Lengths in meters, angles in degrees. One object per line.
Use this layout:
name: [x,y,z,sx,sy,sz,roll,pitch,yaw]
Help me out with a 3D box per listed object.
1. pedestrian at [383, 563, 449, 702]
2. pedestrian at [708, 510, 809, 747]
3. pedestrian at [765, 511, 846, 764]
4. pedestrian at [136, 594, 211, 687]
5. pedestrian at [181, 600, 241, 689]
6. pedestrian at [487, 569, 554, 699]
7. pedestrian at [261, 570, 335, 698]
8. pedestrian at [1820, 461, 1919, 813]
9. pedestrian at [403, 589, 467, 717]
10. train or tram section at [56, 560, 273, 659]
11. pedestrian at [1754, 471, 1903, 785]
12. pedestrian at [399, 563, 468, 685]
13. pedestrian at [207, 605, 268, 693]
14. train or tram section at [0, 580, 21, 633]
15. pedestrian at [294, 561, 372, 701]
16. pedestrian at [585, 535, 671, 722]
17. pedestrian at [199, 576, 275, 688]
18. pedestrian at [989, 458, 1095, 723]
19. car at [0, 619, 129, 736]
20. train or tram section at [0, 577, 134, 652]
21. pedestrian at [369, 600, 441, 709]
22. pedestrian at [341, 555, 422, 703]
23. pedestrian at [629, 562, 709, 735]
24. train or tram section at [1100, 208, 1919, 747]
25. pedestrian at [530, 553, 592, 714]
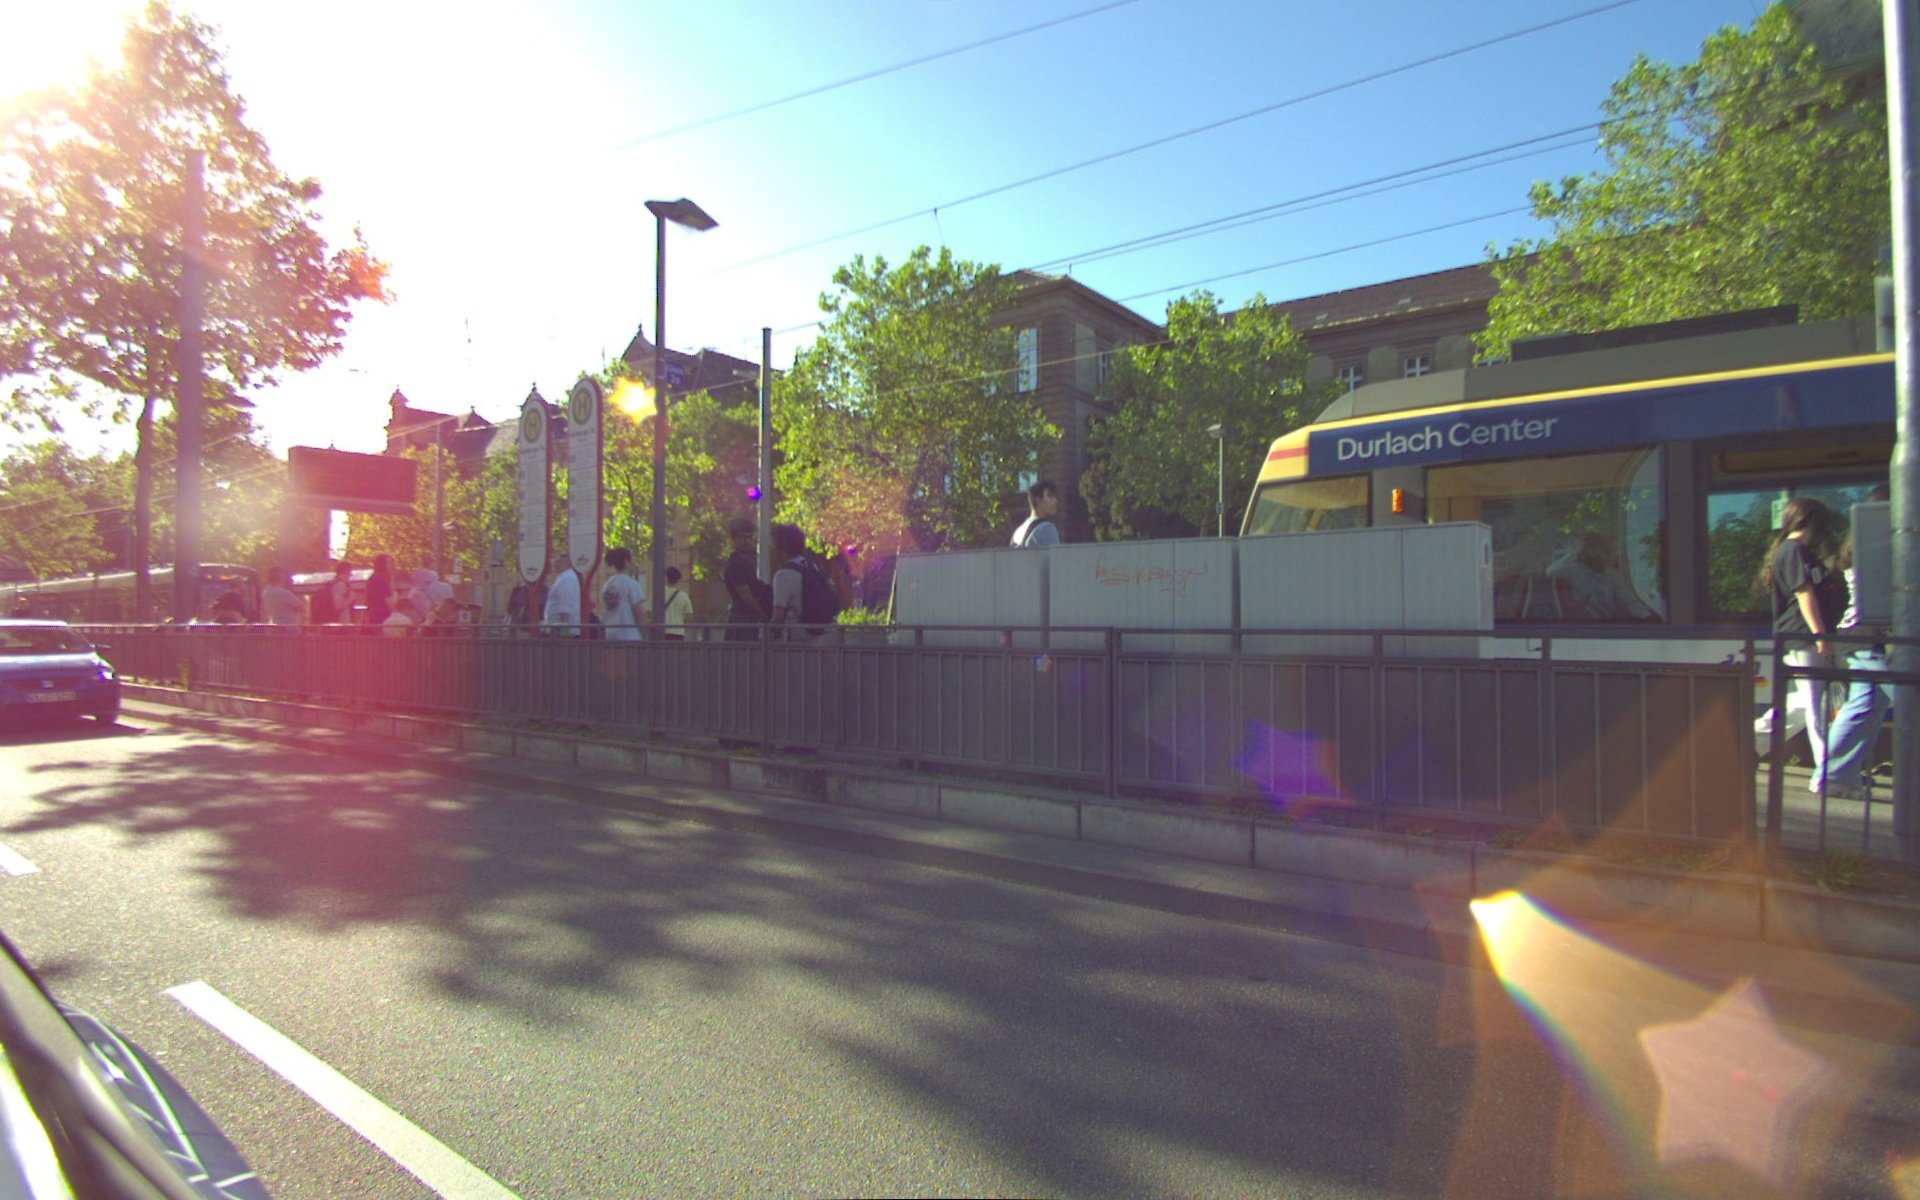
pedestrian: [-6.972,0.413,12.978,0.620,1.721,0.510,-1,-2,37]
pedestrian: [-1.554,0.219,7.840,0.538,1.747,0.543,-1,-2,33]
pedestrian: [-1.125,0.267,7.333,0.540,1.747,0.541,0,-2,-11]
pedestrian: [-13.198,0.673,16.995,0.750,1.521,0.769,-1,-3,34]
pedestrian: [-11.370,0.673,15.371,0.603,1.309,0.529,-1,-3,34]
pedestrian: [-5.315,0.411,12.254,0.530,1.530,0.540,-1,-3,37]
pedestrian: [-8.775,0.452,13.419,0.570,1.646,0.654,-2,-3,38]
pedestrian: [4.929,0.183,5.138,0.745,1.715,0.627,-1,-2,33]
pedestrian: [-5.609,0.559,10.815,0.506,1.326,0.412,-1,-2,36]
train or tram section: [-33.636,0.502,42.164,18.187,3.460,2.822,-2,-1,38]
pedestrian: [5.060,0.163,5.932,0.544,1.715,0.603,-1,-2,33]
pedestrian: [-7.359,0.336,14.148,0.621,1.662,0.613,-1,-2,33]
pedestrian: [-10.523,0.708,14.736,0.603,1.256,0.529,-1,-3,35]
train or tram section: [-51.866,0.439,52.273,15.050,2.551,2.538,-1,-2,38]
pedestrian: [-7.913,0.388,12.776,0.570,1.709,0.654,-2,-3,38]
pedestrian: [-3.169,0.270,9.681,0.610,1.715,0.501,-1,-2,33]
pedestrian: [-11.816,0.523,16.543,0.721,1.766,0.769,-1,-3,34]
pedestrian: [0.572,-0.054,7.042,0.538,1.747,0.543,-1,-2,33]
car: [-13.107,1.004,14.072,3.871,1.426,1.685,-1,-1,39]
train or tram section: [-47.989,0.865,53.398,18.248,3.460,2.844,-2,-1,38]
pedestrian: [-6.329,0.617,11.552,0.530,1.201,0.540,-1,-2,37]
pedestrian: [-6.966,0.350,12.195,0.570,1.709,0.654,-2,-3,38]
pedestrian: [-3.126,0.514,10.882,0.610,1.783,0.548,-1,-2,33]
train or tram section: [8.508,-0.767,5.962,15.867,3.284,2.887,0,1,37]
pedestrian: [-4.388,0.367,11.135,0.601,1.715,0.509,1,-2,-23]
